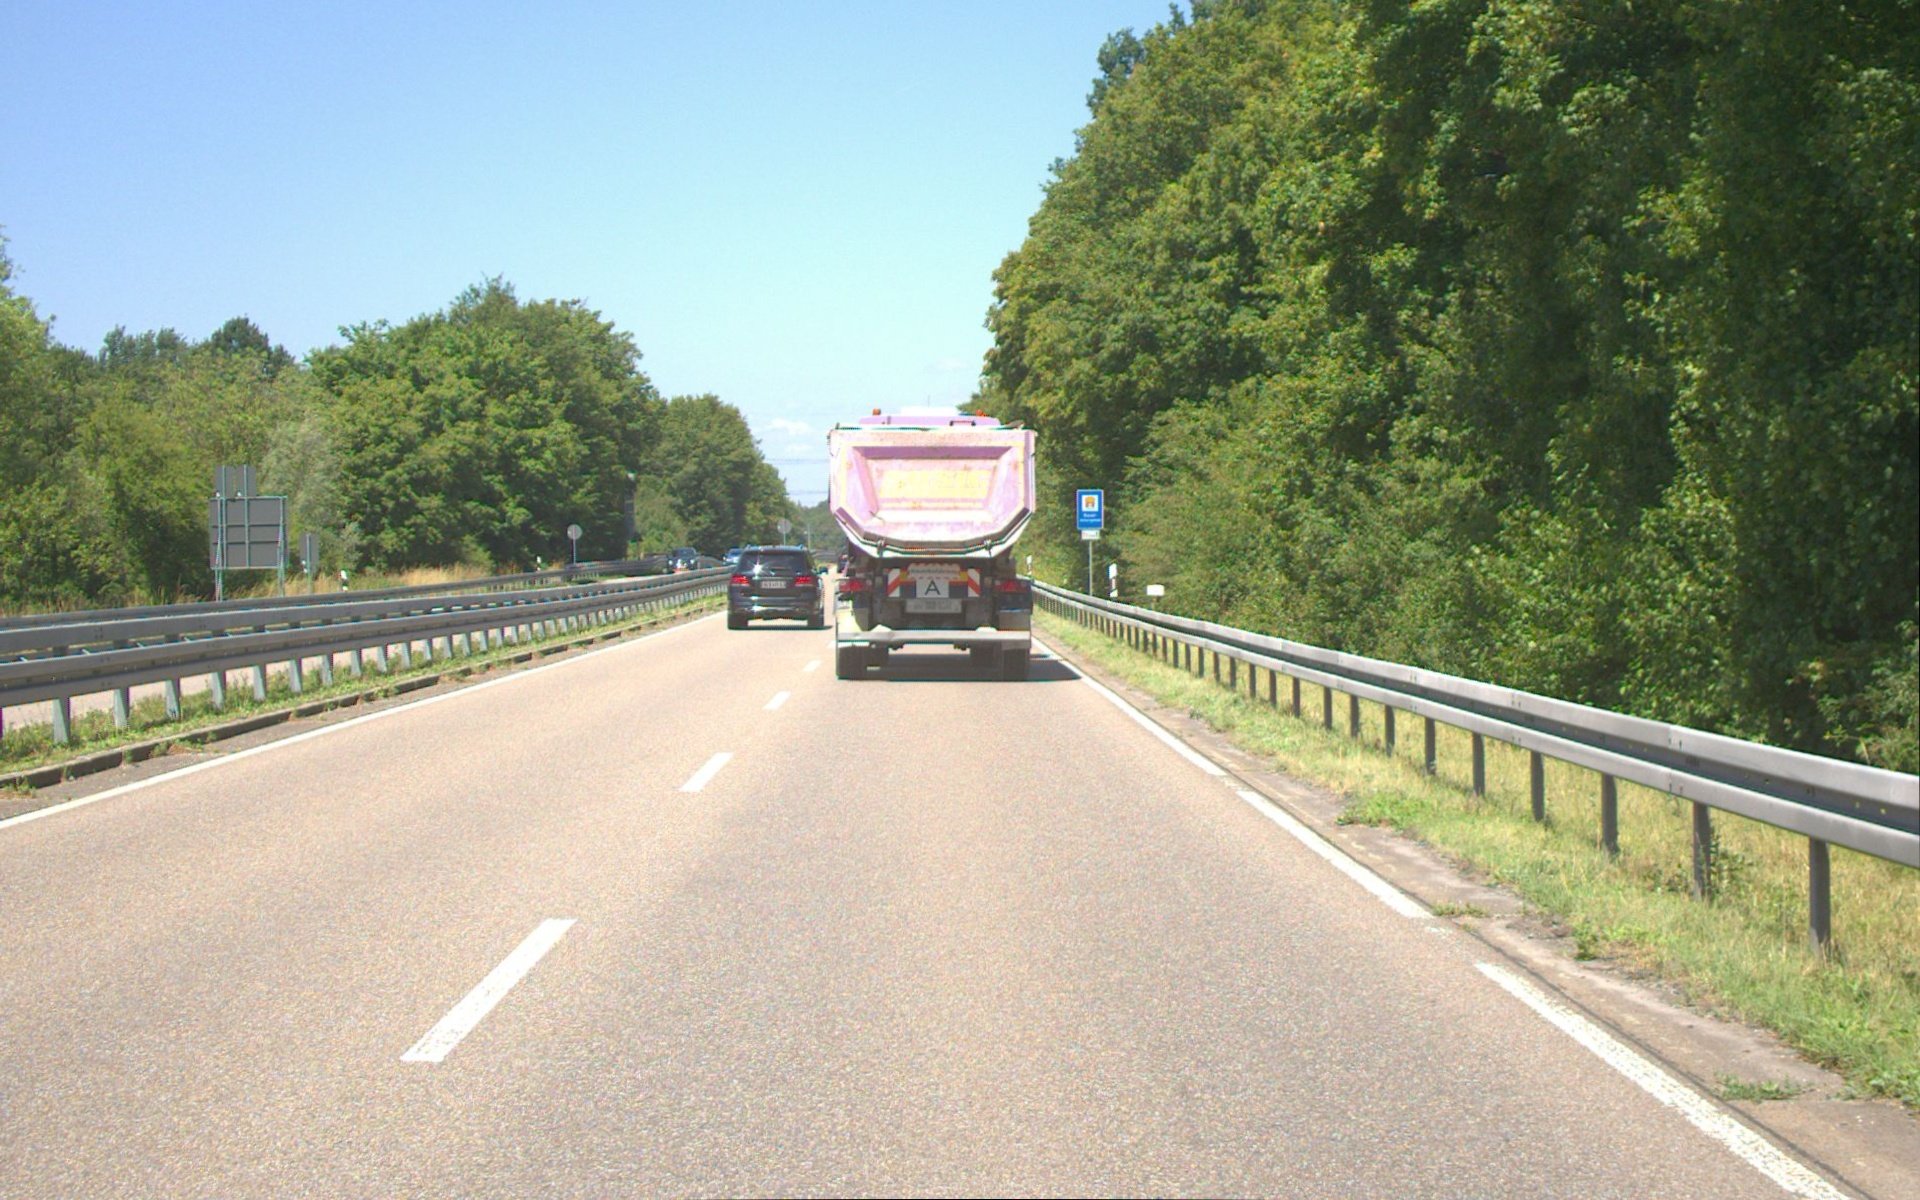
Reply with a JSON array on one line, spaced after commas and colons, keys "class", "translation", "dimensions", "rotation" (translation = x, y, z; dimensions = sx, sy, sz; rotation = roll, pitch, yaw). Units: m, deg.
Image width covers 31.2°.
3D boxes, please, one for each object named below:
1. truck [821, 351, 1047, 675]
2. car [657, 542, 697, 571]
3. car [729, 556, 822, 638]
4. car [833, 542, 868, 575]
[{"class": "truck", "translation": [-0.468, -1.178, 47.733], "dimensions": [2.720, 3.916, 12.371], "rotation": [0, 1, -1]}, {"class": "car", "translation": [-16.760, -2.566, 203.711], "dimensions": [1.779, 1.614, 4.506], "rotation": [-2, 1, 2]}, {"class": "car", "translation": [-3.858, -0.043, 72.392], "dimensions": [1.857, 1.665, 4.000], "rotation": [0, 0, -2]}, {"class": "car", "translation": [-5.882, -2.220, 185.145], "dimensions": [1.857, 1.712, 4.000], "rotation": [0, 0, -2]}]
